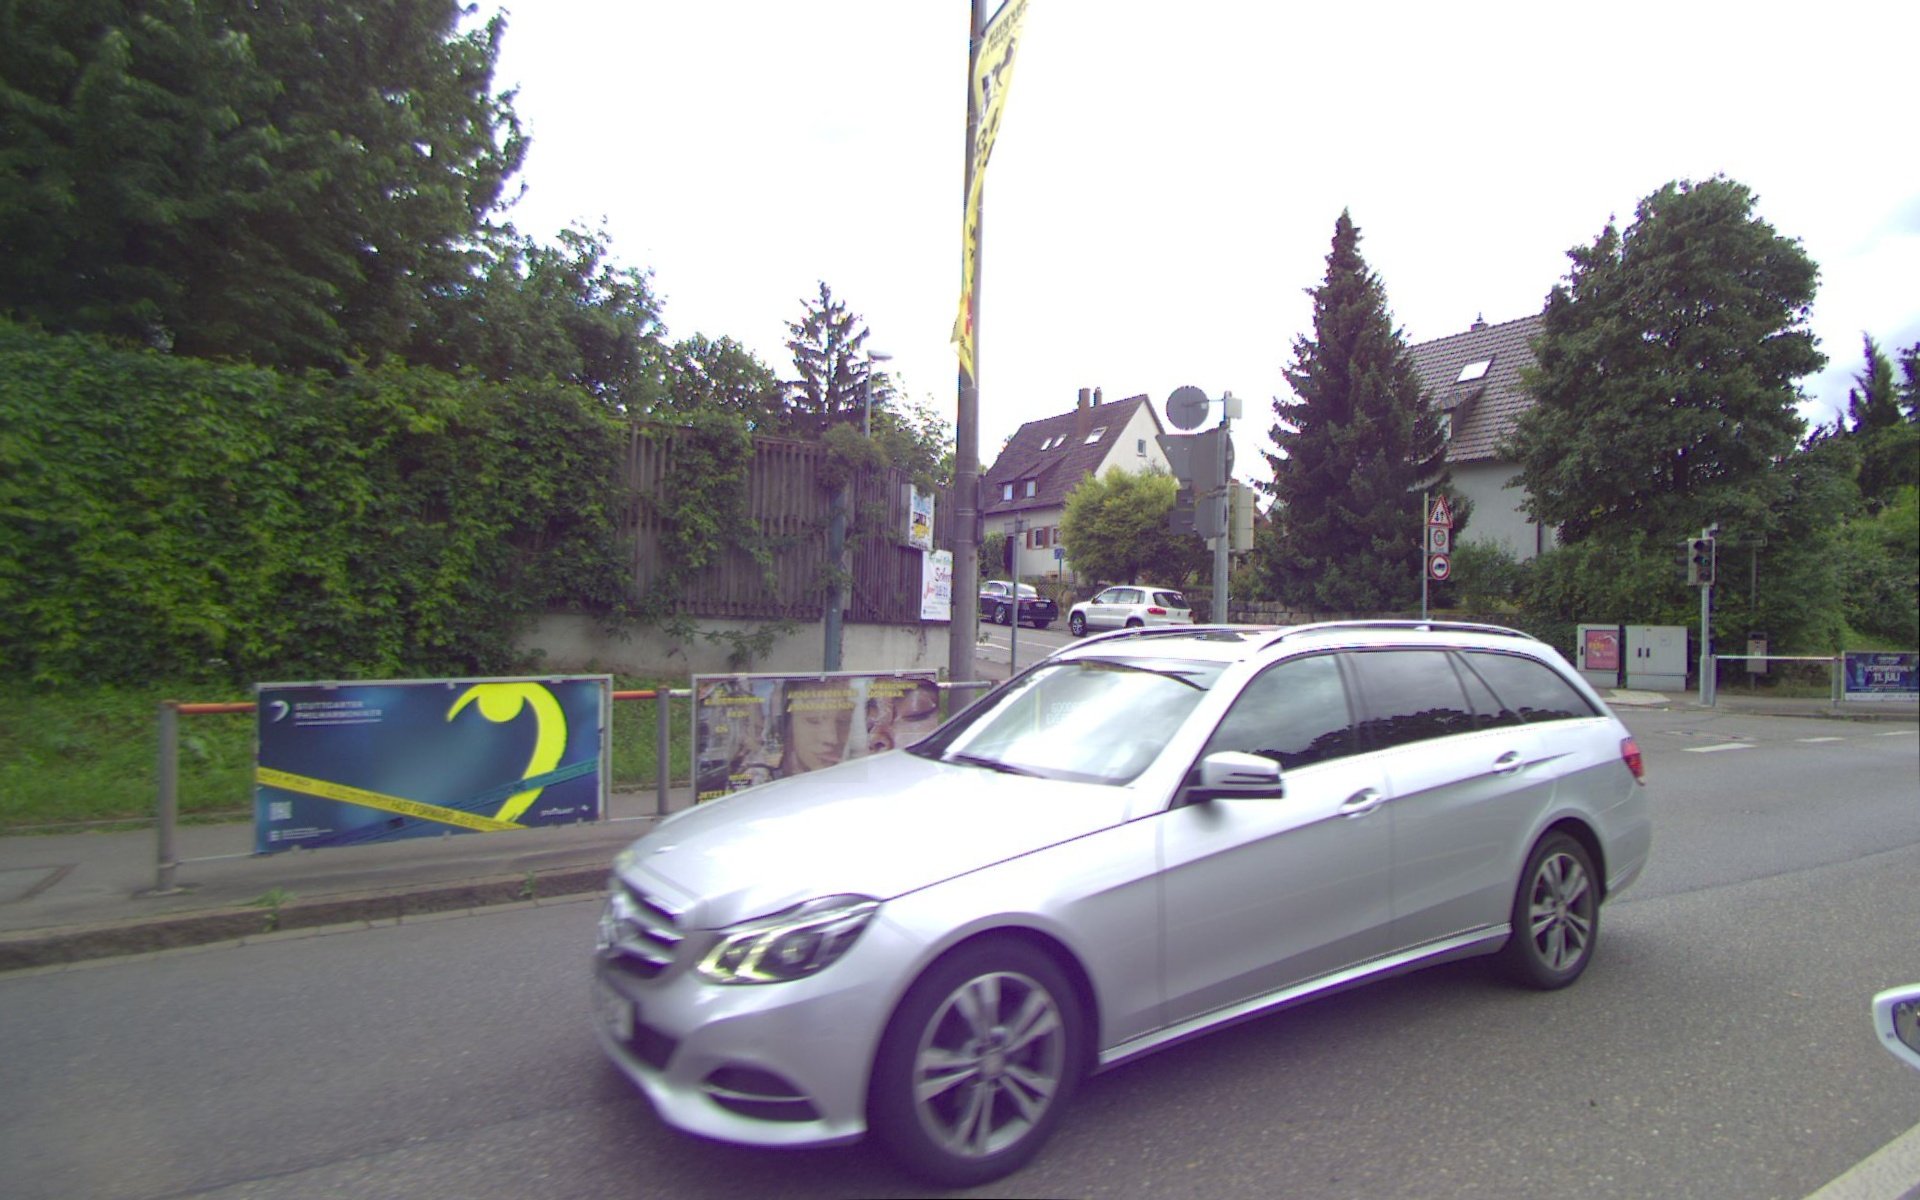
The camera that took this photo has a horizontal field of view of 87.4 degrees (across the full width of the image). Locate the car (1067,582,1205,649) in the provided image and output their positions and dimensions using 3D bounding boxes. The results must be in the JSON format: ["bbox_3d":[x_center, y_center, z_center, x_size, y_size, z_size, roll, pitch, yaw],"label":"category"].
[{"bbox_3d":[5.063,0.398,29.397,1.820,1.620,3.873,1,4,-31],"label":"car"}]

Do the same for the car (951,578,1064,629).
[{"bbox_3d":[1.564,0.092,34.620,1.694,1.379,4.337,4,2,-31],"label":"car"}]

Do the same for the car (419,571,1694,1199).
[{"bbox_3d":[0.769,0.767,4.094,5.147,1.588,1.809,1,0,-32],"label":"car"}]
